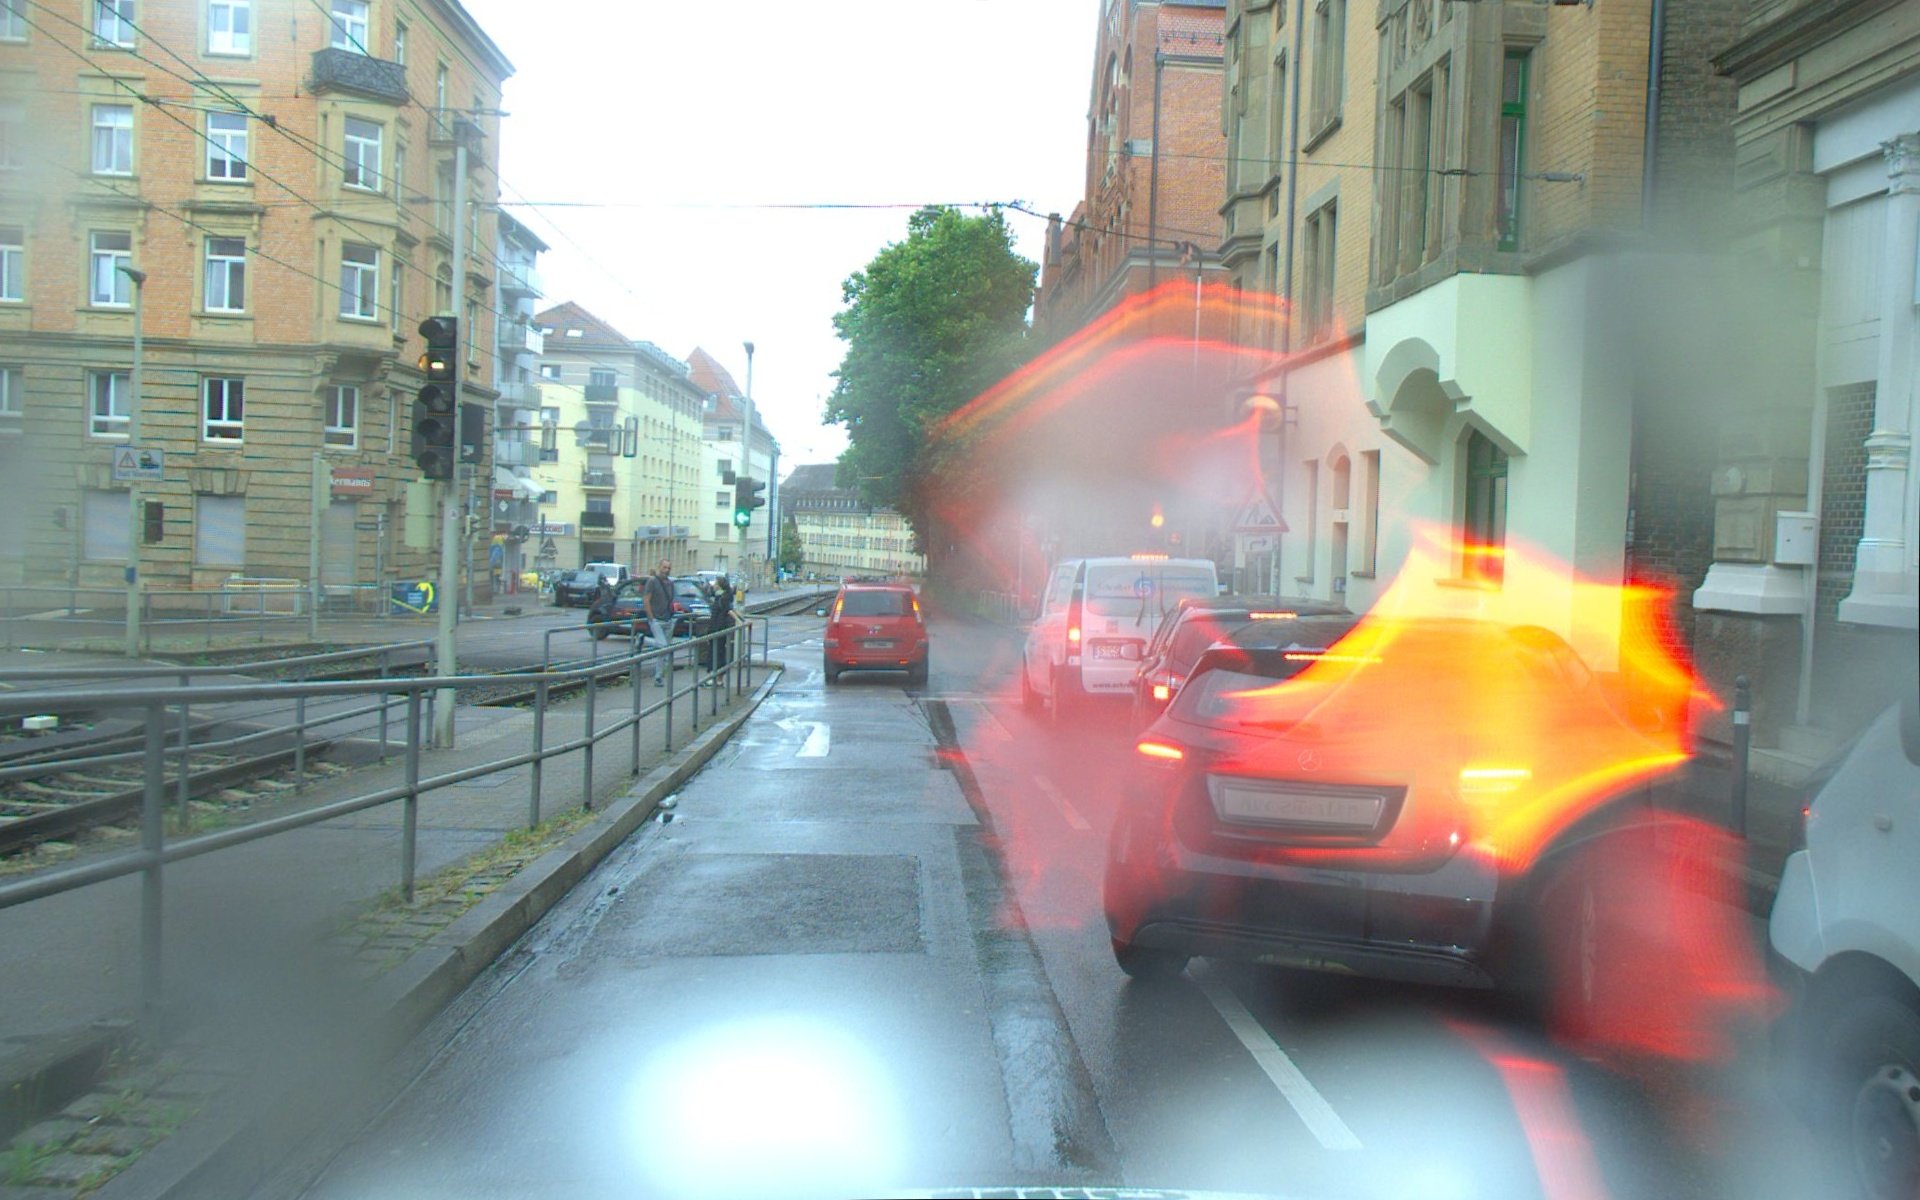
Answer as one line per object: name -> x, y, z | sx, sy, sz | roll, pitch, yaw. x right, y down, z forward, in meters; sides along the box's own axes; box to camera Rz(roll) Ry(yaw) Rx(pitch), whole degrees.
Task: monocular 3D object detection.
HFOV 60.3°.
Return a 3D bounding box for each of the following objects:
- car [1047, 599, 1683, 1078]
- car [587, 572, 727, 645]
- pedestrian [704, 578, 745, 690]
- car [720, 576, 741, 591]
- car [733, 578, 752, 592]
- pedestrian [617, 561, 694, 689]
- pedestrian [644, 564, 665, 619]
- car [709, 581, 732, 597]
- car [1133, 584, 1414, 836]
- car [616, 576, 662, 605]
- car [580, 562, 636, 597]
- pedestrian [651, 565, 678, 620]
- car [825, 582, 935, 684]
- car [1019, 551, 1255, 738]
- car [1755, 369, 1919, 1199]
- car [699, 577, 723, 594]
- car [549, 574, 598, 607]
car -> 2.043, 0.741, 7.268 | 1.858, 1.414, 3.996 | 2, 0, 27
car -> -6.907, 0.176, 37.650 | 3.101, 1.515, 1.418 | 3, 1, 38
pedestrian -> -3.308, 0.473, 23.244 | 0.522, 1.557, 0.435 | 2, 0, -10
car -> -19.073, -1.375, 137.409 | 1.367, 1.191, 3.161 | 2, 0, -2
car -> -19.693, -1.380, 149.953 | 1.367, 1.191, 3.161 | 2, 0, -2
pedestrian -> -4.288, 0.347, 23.293 | 0.729, 1.754, 0.736 | 2, 0, 45
pedestrian -> -9.668, -0.262, 52.321 | 0.507, 1.695, 0.477 | 3, 0, 1
car -> -18.549, -0.850, 128.388 | 1.367, 1.191, 3.161 | 2, 0, -2
car -> 2.186, 0.670, 12.392 | 1.677, 1.494, 4.284 | 2, 0, 7
car -> -16.353, -0.476, 84.372 | 1.646, 1.379, 3.702 | 2, 0, -2
car -> -16.541, -0.958, 77.924 | 1.750, 1.556, 4.461 | 2, 0, -2
pedestrian -> -9.167, -0.232, 51.336 | 0.664, 1.690, 0.676 | 1, 0, 4
car -> -1.334, 0.480, 26.934 | 1.647, 1.515, 3.610 | 1, 1, -4
car -> 1.894, 0.434, 19.073 | 1.895, 1.863, 4.277 | 2, 1, -5
car -> 3.035, 0.517, 1.913 | 1.882, 1.969, 4.684 | 2, 0, -1
car -> -18.325, -1.042, 121.741 | 1.367, 1.191, 3.161 | 2, 0, -2
car -> -16.677, -0.415, 71.521 | 1.423, 1.341, 3.293 | 3, 1, -3
